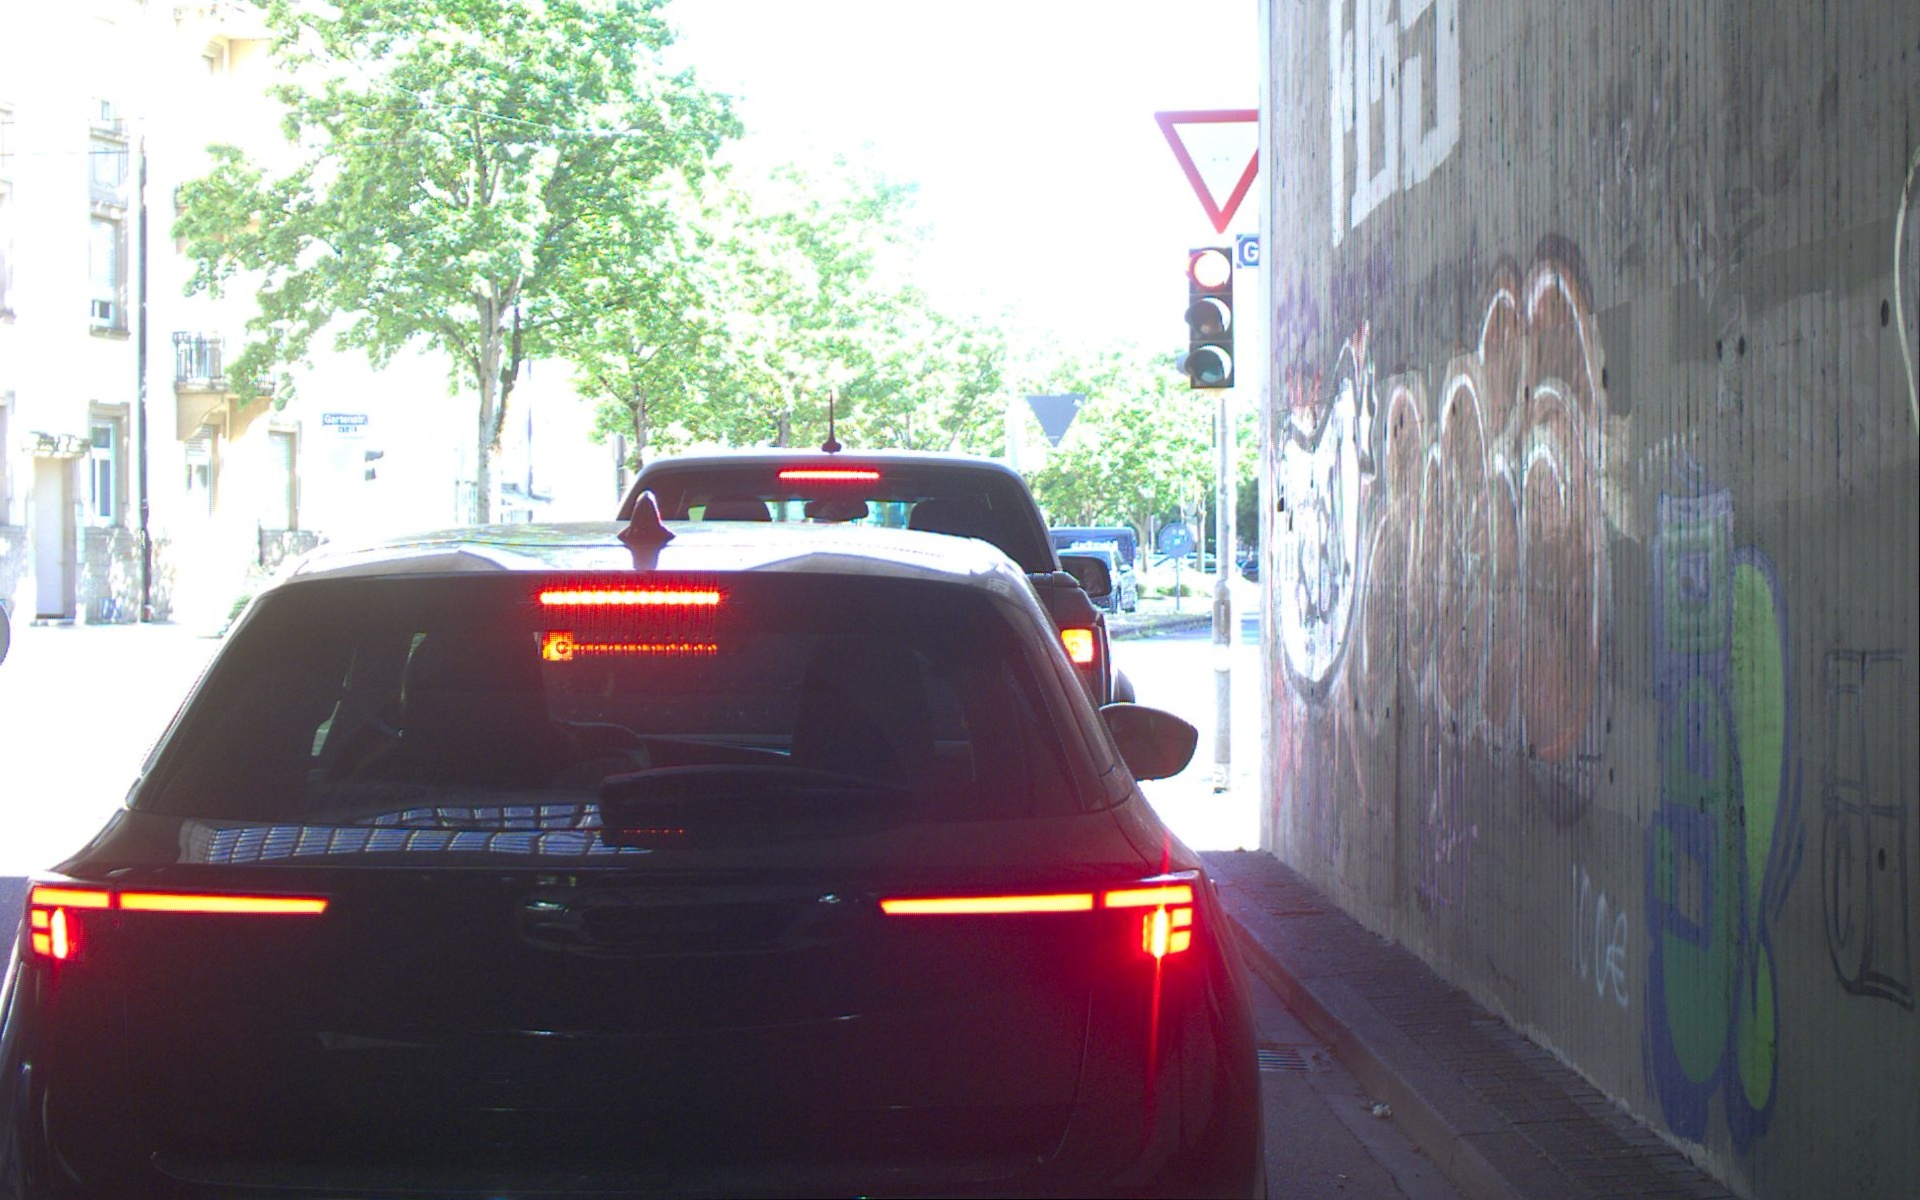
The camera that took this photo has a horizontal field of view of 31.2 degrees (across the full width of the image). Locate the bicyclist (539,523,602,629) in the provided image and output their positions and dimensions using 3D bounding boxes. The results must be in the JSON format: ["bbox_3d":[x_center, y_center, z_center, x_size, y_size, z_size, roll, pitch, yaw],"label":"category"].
[{"bbox_3d":[-5.837,-0.358,51.536,0.729,1.576,0.814,1,0,9],"label":"bicyclist"}]

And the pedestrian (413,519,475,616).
[{"bbox_3d":[-10.768,-0.690,71.784,0.992,2.007,1.088,0,1,8],"label":"pedestrian"}]

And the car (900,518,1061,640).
[{"bbox_3d":[0.299,-0.241,44.167,1.968,1.492,3.896,0,-1,1],"label":"car"}]

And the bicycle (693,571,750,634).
[{"bbox_3d":[-4.154,0.037,59.981,0.626,1.064,1.688,1,1,9],"label":"bicycle"}]

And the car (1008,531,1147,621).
[{"bbox_3d":[2.396,-0.450,68.999,2.221,1.713,4.458,0,-1,10],"label":"car"}]

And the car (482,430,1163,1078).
[{"bbox_3d":[-0.415,0.406,11.885,1.945,1.853,3.964,0,1,-1],"label":"car"}]

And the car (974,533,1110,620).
[{"bbox_3d":[1.510,-0.394,62.189,1.969,1.492,3.895,0,-1,9],"label":"car"}]

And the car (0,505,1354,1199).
[{"bbox_3d":[-0.495,0.624,6.064,1.882,1.532,3.964,0,1,-1],"label":"car"}]

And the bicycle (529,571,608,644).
[{"bbox_3d":[-5.855,0.098,51.510,0.732,1.064,1.688,1,1,9],"label":"bicycle"}]

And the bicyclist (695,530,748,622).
[{"bbox_3d":[-4.160,-0.419,59.944,0.729,1.576,0.814,1,0,9],"label":"bicyclist"}]
